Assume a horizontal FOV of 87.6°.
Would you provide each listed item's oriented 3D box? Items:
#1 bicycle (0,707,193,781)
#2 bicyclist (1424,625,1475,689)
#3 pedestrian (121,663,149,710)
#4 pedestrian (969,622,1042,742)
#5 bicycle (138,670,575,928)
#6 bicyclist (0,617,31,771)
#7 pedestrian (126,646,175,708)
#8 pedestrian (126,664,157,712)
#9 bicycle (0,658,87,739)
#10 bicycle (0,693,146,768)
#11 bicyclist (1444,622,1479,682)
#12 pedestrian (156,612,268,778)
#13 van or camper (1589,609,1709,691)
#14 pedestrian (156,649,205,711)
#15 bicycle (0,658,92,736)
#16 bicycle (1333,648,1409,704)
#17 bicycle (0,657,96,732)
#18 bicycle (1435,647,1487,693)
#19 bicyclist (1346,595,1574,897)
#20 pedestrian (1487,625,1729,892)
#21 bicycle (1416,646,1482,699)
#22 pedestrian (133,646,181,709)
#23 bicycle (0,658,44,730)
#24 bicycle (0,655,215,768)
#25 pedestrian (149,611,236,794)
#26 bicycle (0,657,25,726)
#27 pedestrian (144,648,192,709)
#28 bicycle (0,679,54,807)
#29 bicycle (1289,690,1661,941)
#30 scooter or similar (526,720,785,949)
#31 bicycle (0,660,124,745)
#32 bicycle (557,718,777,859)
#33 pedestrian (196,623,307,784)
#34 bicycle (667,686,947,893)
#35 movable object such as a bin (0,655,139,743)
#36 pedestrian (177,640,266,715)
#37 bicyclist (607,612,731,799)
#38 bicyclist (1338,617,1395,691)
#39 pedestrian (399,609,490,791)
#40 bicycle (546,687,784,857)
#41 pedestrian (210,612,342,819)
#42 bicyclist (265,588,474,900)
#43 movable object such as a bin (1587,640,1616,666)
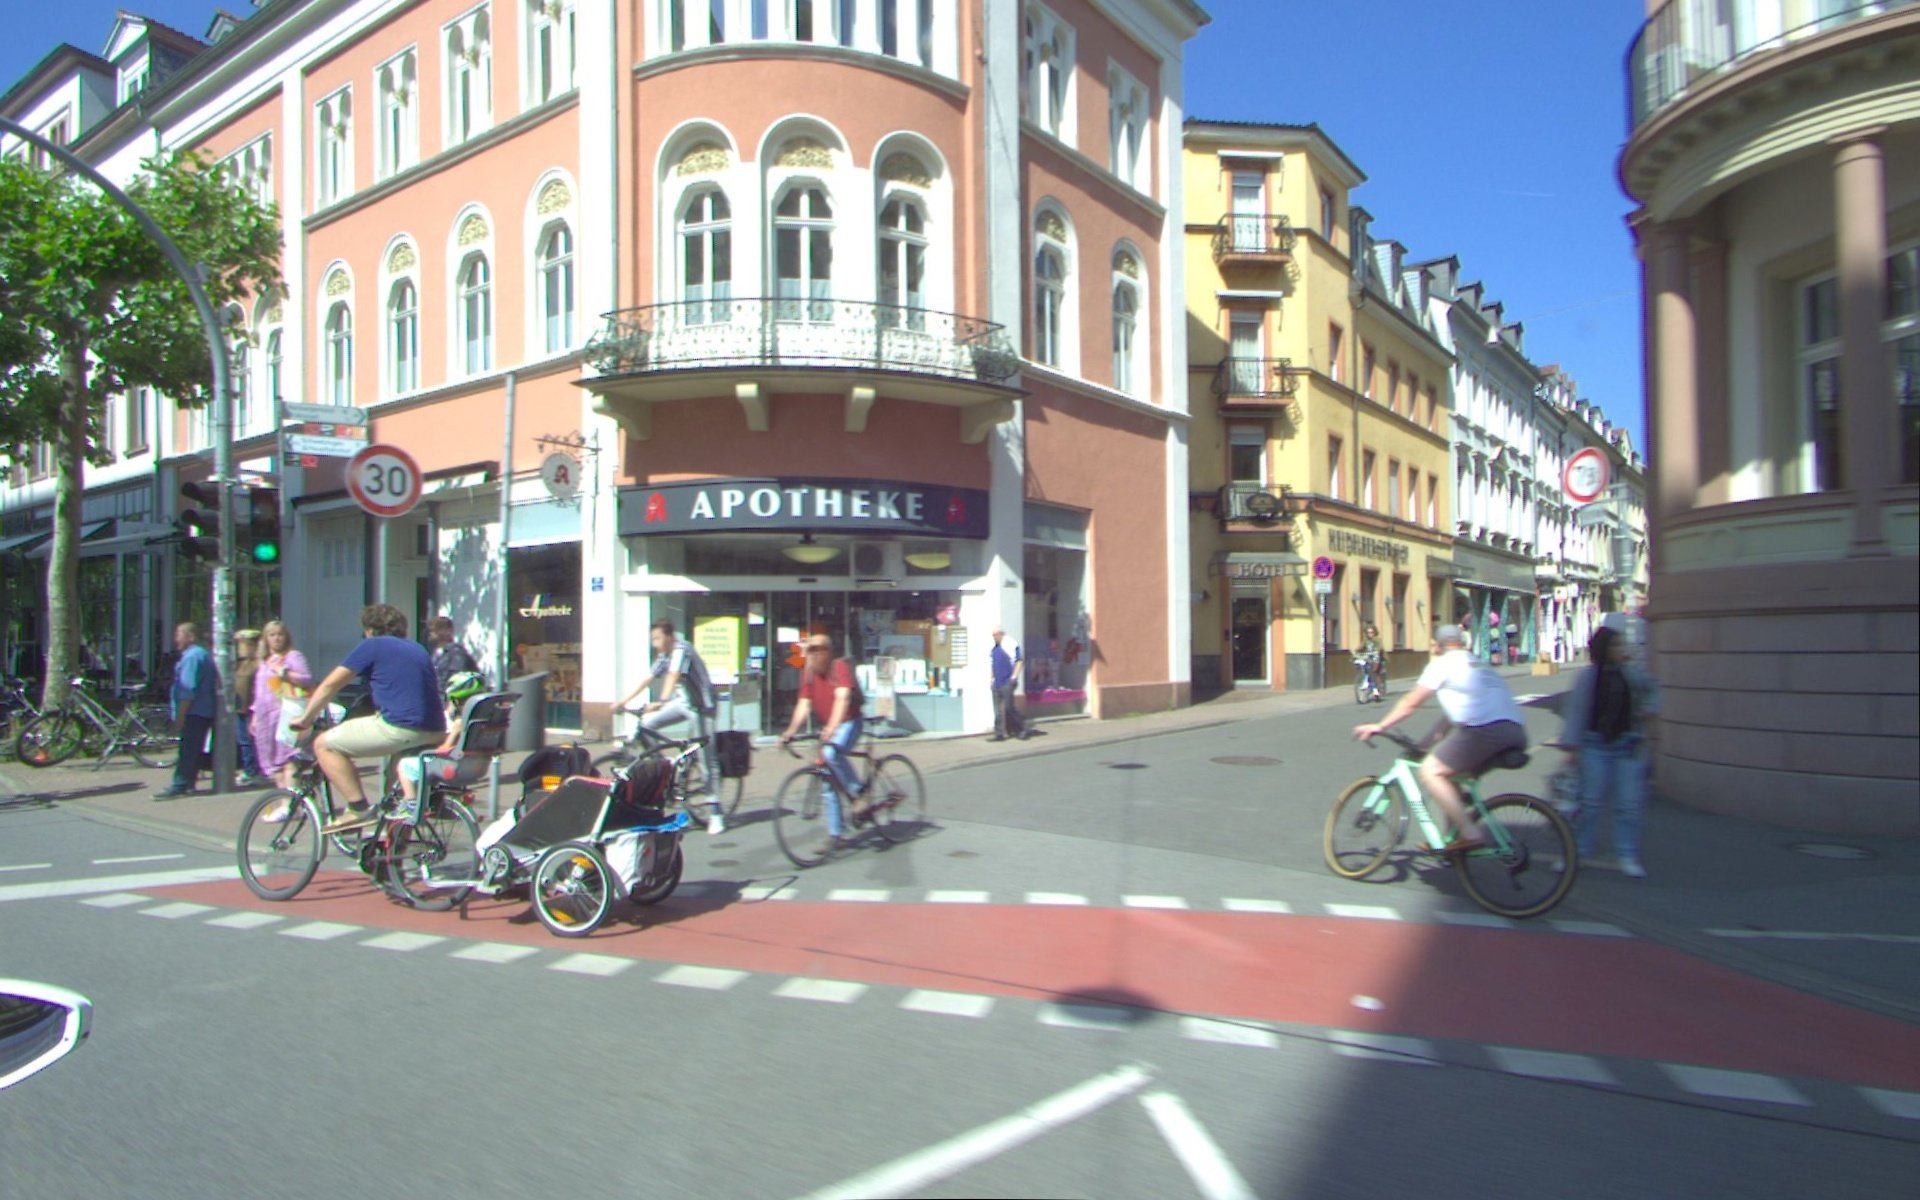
[{"bbox_3d":[-11.427,1.887,13.166,1.823,0.440,1.137,-9,6,8],"label":"bicycle"},{"bbox_3d":[11.334,1.306,23.166,0.764,1.449,1.250,0,-2,41],"label":"bicyclist"},{"bbox_3d":[-17.587,1.839,21.355,0.431,0.980,0.340,-1,-2,34],"label":"pedestrian"},{"bbox_3d":[0.668,1.177,14.729,0.781,1.680,0.636,2,0,43],"label":"pedestrian"},{"bbox_3d":[-3.513,1.096,5.890,2.238,1.285,0.734,1,-2,11],"label":"bicycle"},{"bbox_3d":[-9.645,0.902,9.662,0.946,1.463,0.698,-1,-4,29],"label":"bicyclist"},{"bbox_3d":[-18.067,1.708,22.358,0.524,1.349,0.680,-1,-2,30],"label":"pedestrian"},{"bbox_3d":[-17.091,1.832,20.910,0.431,0.980,0.364,-1,-2,34],"label":"pedestrian"},{"bbox_3d":[-13.958,1.431,14.546,0.659,1.141,1.832,-2,-3,39],"label":"bicycle"},{"bbox_3d":[-12.213,1.757,13.405,1.021,0.395,1.850,-41,-31,23],"label":"bicycle"},{"bbox_3d":[13.197,1.355,26.349,0.621,1.549,0.882,0,-1,41],"label":"bicyclist"},{"bbox_3d":[-8.569,1.068,11.486,0.631,1.817,0.787,0,-3,30],"label":"pedestrian"},{"bbox_3d":[18.921,1.322,27.419,1.980,2.039,4.544,-2,-2,44],"label":"van or camper"},{"bbox_3d":[-16.651,1.700,21.388,0.600,1.269,0.638,-2,-1,30],"label":"pedestrian"},{"bbox_3d":[-14.449,1.464,15.193,0.658,1.141,1.836,-2,-3,34],"label":"bicycle"},{"bbox_3d":[9.097,1.655,22.101,0.762,1.141,2.553,-4,-4,41],"label":"bicycle"},{"bbox_3d":[-15.075,1.505,15.989,0.658,1.141,1.836,-2,-3,34],"label":"bicycle"},{"bbox_3d":[13.220,1.814,26.378,0.621,1.141,2.554,0,-2,41],"label":"bicycle"},{"bbox_3d":[3.069,0.822,6.223,0.565,1.684,1.152,0,0,-32],"label":"bicyclist"},{"bbox_3d":[4.324,1.019,6.775,0.957,1.632,0.903,-3,-2,4],"label":"pedestrian"},{"bbox_3d":[11.331,1.645,23.162,0.764,1.141,2.554,0,-2,41],"label":"bicycle"},{"bbox_3d":[-17.617,1.681,21.969,0.524,1.355,0.680,-1,-2,30],"label":"pedestrian"},{"bbox_3d":[-15.844,1.513,15.893,0.635,1.141,1.836,-2,-3,34],"label":"bicycle"},{"bbox_3d":[-10.049,1.307,11.801,1.826,1.203,0.715,4,-2,-19],"label":"bicycle"},{"bbox_3d":[-7.883,1.034,10.291,0.599,1.817,0.452,0,-3,31],"label":"pedestrian"},{"bbox_3d":[-16.698,1.534,16.474,0.658,1.141,1.836,-2,-3,34],"label":"bicycle"},{"bbox_3d":[-17.153,1.695,21.699,0.524,1.269,0.680,-1,0,30],"label":"pedestrian"},{"bbox_3d":[-9.610,1.335,9.624,2.050,1.140,0.698,-2,-4,30],"label":"bicycle"},{"bbox_3d":[3.069,1.211,6.228,0.565,1.142,2.065,0,0,-32],"label":"bicycle"},{"bbox_3d":[-1.621,1.226,5.474,1.104,1.073,0.786,0,-3,9],"label":"scooter or similar"},{"bbox_3d":[-12.837,1.415,13.904,1.828,1.141,0.342,5,-4,-42],"label":"bicycle"},{"bbox_3d":[-2.284,1.449,8.046,0.494,0.855,1.818,-1,-2,33],"label":"bicycle"},{"bbox_3d":[-7.858,1.118,11.121,0.631,1.712,0.786,0,-2,30],"label":"pedestrian"},{"bbox_3d":[-0.991,1.266,7.403,0.618,1.141,2.564,0,-2,28],"label":"bicycle"},{"bbox_3d":[-13.040,1.415,14.397,1.839,1.203,0.647,5,-5,-42],"label":"movable object such as a bin"},{"bbox_3d":[-14.873,1.536,20.183,0.778,1.440,1.231,-2,-2,30],"label":"pedestrian"},{"bbox_3d":[-2.350,0.821,8.134,0.494,1.429,0.857,-1,-1,33],"label":"bicyclist"},{"bbox_3d":[8.889,1.176,21.891,0.762,1.576,1.215,-4,-3,41],"label":"bicyclist"},{"bbox_3d":[-5.528,1.055,10.741,0.608,1.865,0.636,-2,-5,44],"label":"pedestrian"},{"bbox_3d":[-2.328,1.309,8.114,0.658,1.141,1.834,-2,-3,36],"label":"bicycle"},{"bbox_3d":[-6.055,1.013,8.876,0.778,1.729,0.639,-3,-5,30],"label":"pedestrian"},{"bbox_3d":[-3.438,0.801,5.878,0.760,1.695,0.733,-1,-1,10],"label":"bicyclist"},{"bbox_3d":[28.831,2.361,45.018,0.955,1.162,1.255,-2,-2,38],"label":"movable object such as a bin"}]
